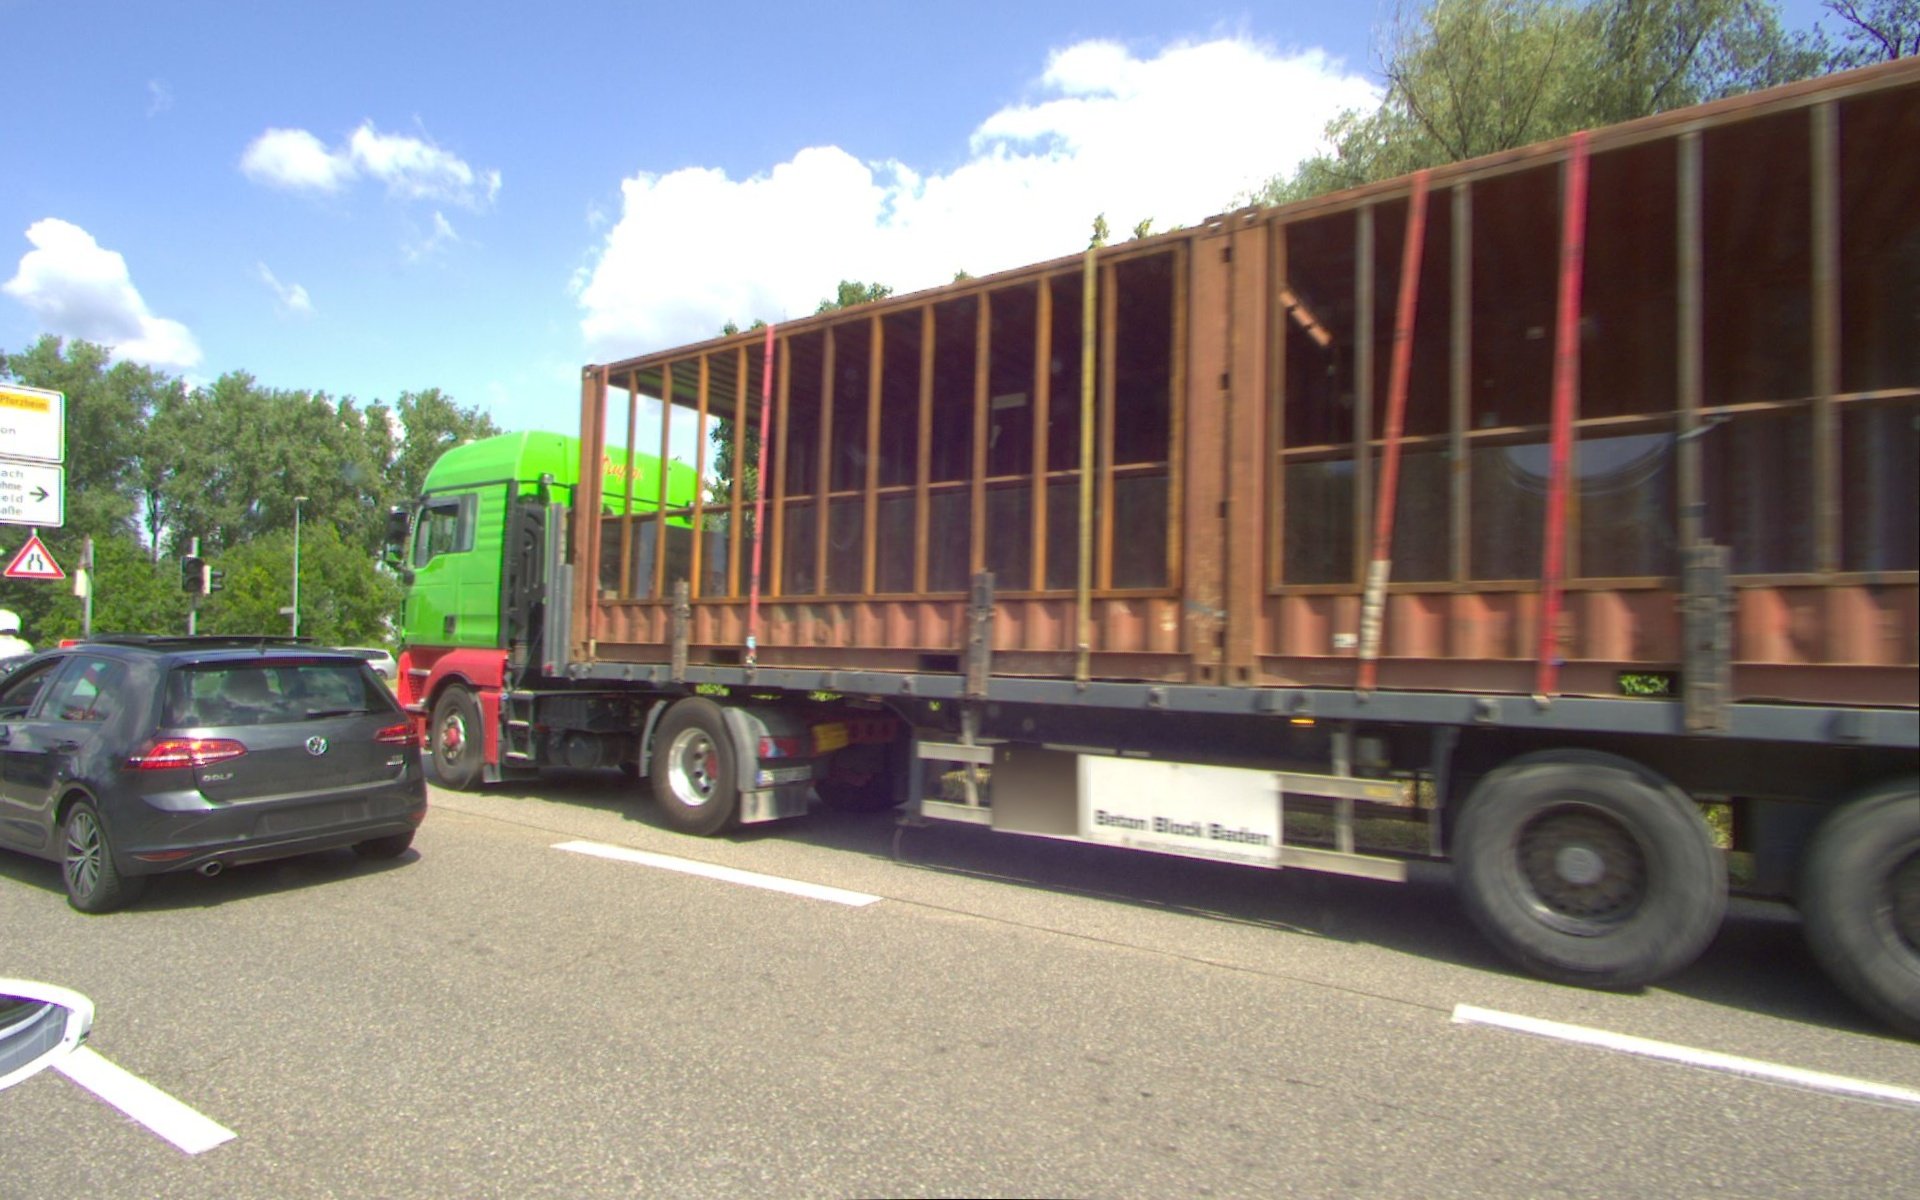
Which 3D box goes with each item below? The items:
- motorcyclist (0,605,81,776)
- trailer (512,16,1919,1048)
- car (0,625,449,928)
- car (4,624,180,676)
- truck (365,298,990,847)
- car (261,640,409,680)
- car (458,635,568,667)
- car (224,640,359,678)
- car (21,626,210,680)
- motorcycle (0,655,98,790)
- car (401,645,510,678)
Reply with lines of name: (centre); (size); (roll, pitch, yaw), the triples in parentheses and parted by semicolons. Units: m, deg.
motorcyclist: (-9.617, 0.884, 9.989); (1.109, 1.640, 0.964); (-1, -2, 32)
trailer: (2.369, -0.157, 6.288); (13.660, 3.937, 2.634); (-1, -5, 35)
car: (-5.312, 0.926, 6.652); (3.815, 1.497, 1.640); (-1, -2, 31)
car: (-29.944, 1.772, 34.687); (1.810, 1.666, 4.201); (0, -4, 30)
truck: (-2.939, -0.055, 10.028); (5.798, 3.950, 2.864); (-1, -5, 35)
car: (-23.714, 2.299, 38.177); (1.621, 1.392, 4.527); (0, -4, 30)
car: (-20.074, 2.314, 45.186); (1.621, 1.306, 4.397); (0, -4, 30)
car: (-26.823, 2.405, 40.324); (1.621, 1.392, 4.201); (0, -4, 30)
car: (-27.229, 1.767, 32.439); (1.817, 1.636, 4.280); (-1, -4, 30)
motorcycle: (-9.423, 1.143, 9.827); (2.365, 1.146, 0.788); (0, -2, 33)
car: (-23.185, 2.858, 46.181); (1.675, 1.392, 4.201); (0, -4, 30)
